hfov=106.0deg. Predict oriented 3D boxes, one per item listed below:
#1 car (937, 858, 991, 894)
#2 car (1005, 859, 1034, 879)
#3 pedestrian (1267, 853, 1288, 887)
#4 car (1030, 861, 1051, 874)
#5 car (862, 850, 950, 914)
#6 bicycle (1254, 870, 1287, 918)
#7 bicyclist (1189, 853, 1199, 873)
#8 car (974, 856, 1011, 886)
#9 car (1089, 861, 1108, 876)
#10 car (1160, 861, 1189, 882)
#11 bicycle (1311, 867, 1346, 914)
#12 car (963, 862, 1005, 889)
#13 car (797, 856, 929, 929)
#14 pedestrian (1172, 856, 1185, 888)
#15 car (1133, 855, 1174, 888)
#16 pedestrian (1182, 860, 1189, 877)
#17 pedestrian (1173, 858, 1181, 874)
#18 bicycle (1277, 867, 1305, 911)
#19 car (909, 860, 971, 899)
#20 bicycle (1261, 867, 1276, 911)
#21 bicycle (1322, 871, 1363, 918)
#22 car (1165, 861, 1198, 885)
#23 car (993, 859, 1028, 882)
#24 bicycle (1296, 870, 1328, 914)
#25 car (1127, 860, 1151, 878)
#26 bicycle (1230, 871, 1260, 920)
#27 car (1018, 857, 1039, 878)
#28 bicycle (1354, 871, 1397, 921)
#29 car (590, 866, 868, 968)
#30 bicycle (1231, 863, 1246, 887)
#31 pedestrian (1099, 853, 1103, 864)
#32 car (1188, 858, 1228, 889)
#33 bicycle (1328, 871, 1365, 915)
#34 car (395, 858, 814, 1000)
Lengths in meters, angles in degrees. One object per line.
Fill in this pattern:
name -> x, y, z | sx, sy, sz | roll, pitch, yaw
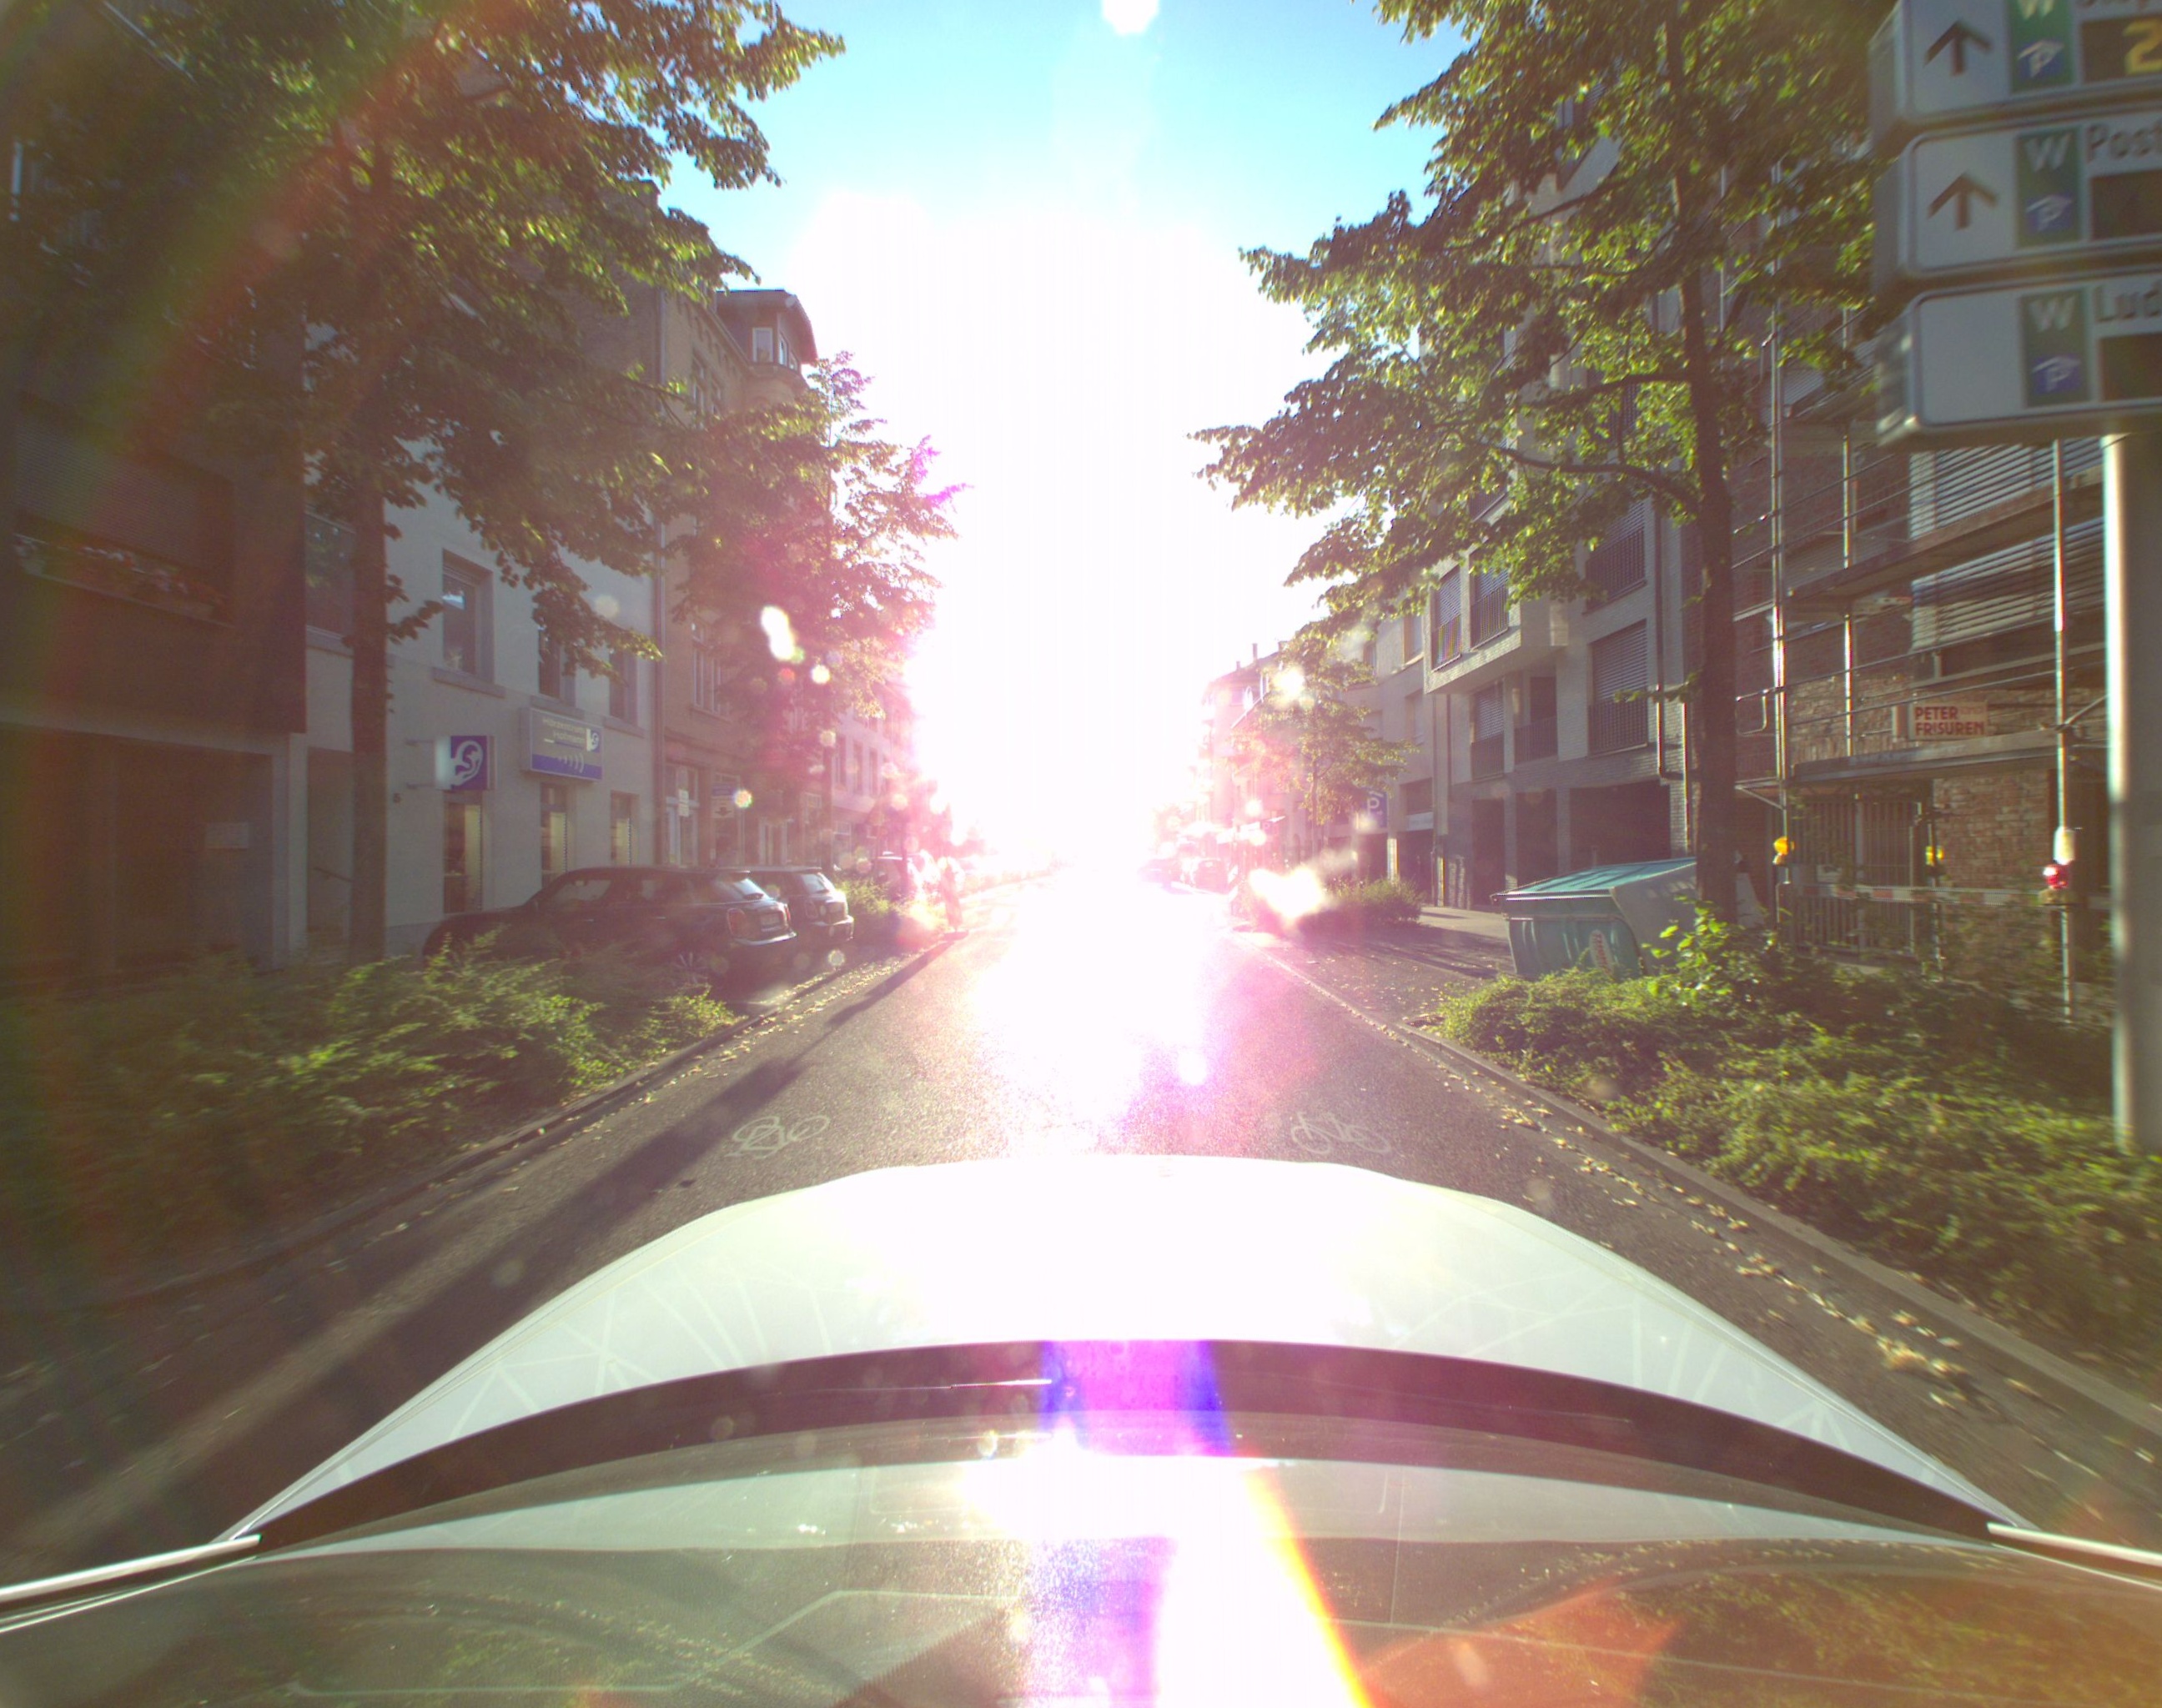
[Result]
car -> -5.456, 1.002, 38.578 | 1.767, 1.633, 4.240 | 0, 0, 2
car -> -4.974, 1.220, 66.391 | 1.820, 1.439, 4.555 | -3, -1, 2
pedestrian -> 9.700, 0.782, 40.168 | 0.807, 1.647, 0.606 | -2, -2, 1
car -> -4.079, 1.343, 81.798 | 1.827, 1.328, 4.124 | 0, 0, 1
car -> -5.297, 0.817, 25.274 | 1.900, 1.728, 4.697 | -2, -1, -3
bicycle -> 4.594, 0.954, 19.783 | 0.381, 1.100, 1.522 | -1, -2, -1
bicyclist -> 10.056, 0.806, 72.466 | 0.648, 1.702, 1.095 | -1, -1, 1
car -> -5.772, 1.080, 53.629 | 1.821, 1.810, 5.347 | -2, 0, 0
car -> 1.789, 1.429, 81.747 | 1.876, 1.415, 4.327 | 0, -1, 2
car -> 6.638, 1.209, 58.078 | 1.697, 1.436, 3.933 | -1, -1, 2
bicycle -> 6.480, 0.938, 21.372 | 0.381, 1.189, 1.522 | 0, -1, -2
car -> -5.570, 1.222, 47.309 | 1.707, 1.440, 4.311 | -2, 0, 2
car -> -5.149, 0.877, 19.483 | 2.687, 1.520, 1.571 | -3, 1, -2
pedestrian -> 5.271, 0.977, 44.127 | 0.443, 1.665, 0.561 | -1, -1, -24
car -> 3.908, 0.940, 44.632 | 1.987, 1.655, 4.675 | 1, 0, 2
pedestrian -> 10.734, 1.492, 83.672 | 0.684, 1.722, 0.718 | -2, -1, 7
pedestrian -> 9.855, 1.228, 83.683 | 0.685, 1.559, 0.863 | -1, -1, 2
bicycle -> 5.510, 0.905, 21.447 | 0.380, 1.100, 1.566 | -1, 0, 3
car -> -5.850, 1.021, 34.226 | 1.767, 1.515, 3.952 | -1, 0, 2
bicycle -> 4.996, 0.913, 21.678 | 0.368, 1.108, 1.528 | -1, -1, 13
bicycle -> 6.409, 0.974, 20.025 | 0.381, 1.100, 1.520 | -1, -1, -5
car -> 6.163, 1.141, 50.431 | 1.627, 1.424, 3.758 | -1, -1, 1
car -> -5.174, 1.206, 60.354 | 1.820, 1.556, 5.138 | -3, 0, 2
bicycle -> 6.028, 0.976, 21.309 | 0.381, 1.100, 1.522 | 0, -1, -2
car -> 4.904, 1.284, 69.352 | 1.915, 1.415, 4.550 | 1, -1, 2
bicycle -> 3.930, 0.974, 19.592 | 0.381, 1.100, 1.522 | -1, -1, -1
car -> -4.831, 1.254, 75.432 | 1.828, 1.854, 4.120 | -1, -1, -2
bicycle -> 6.993, 0.974, 19.389 | 0.381, 1.100, 1.522 | -1, -1, -2
car -> -5.120, 0.888, 12.138 | 3.382, 1.392, 1.688 | 0, 0, 3
bicycle -> 8.255, 1.090, 42.730 | 0.396, 1.234, 1.825 | -2, 0, -1
pedestrian -> 2.961, 0.671, 120.811 | 0.496, 1.715, 0.459 | -1, 0, -19
car -> 6.735, 1.007, 43.425 | 1.628, 1.553, 2.693 | -2, 0, -1
bicycle -> 6.906, 0.991, 21.221 | 0.381, 1.100, 1.522 | -1, -1, -2
car -> -5.446, 0.815, 9.694 | 3.878, 1.517, 1.858 | 0, 0, 2
